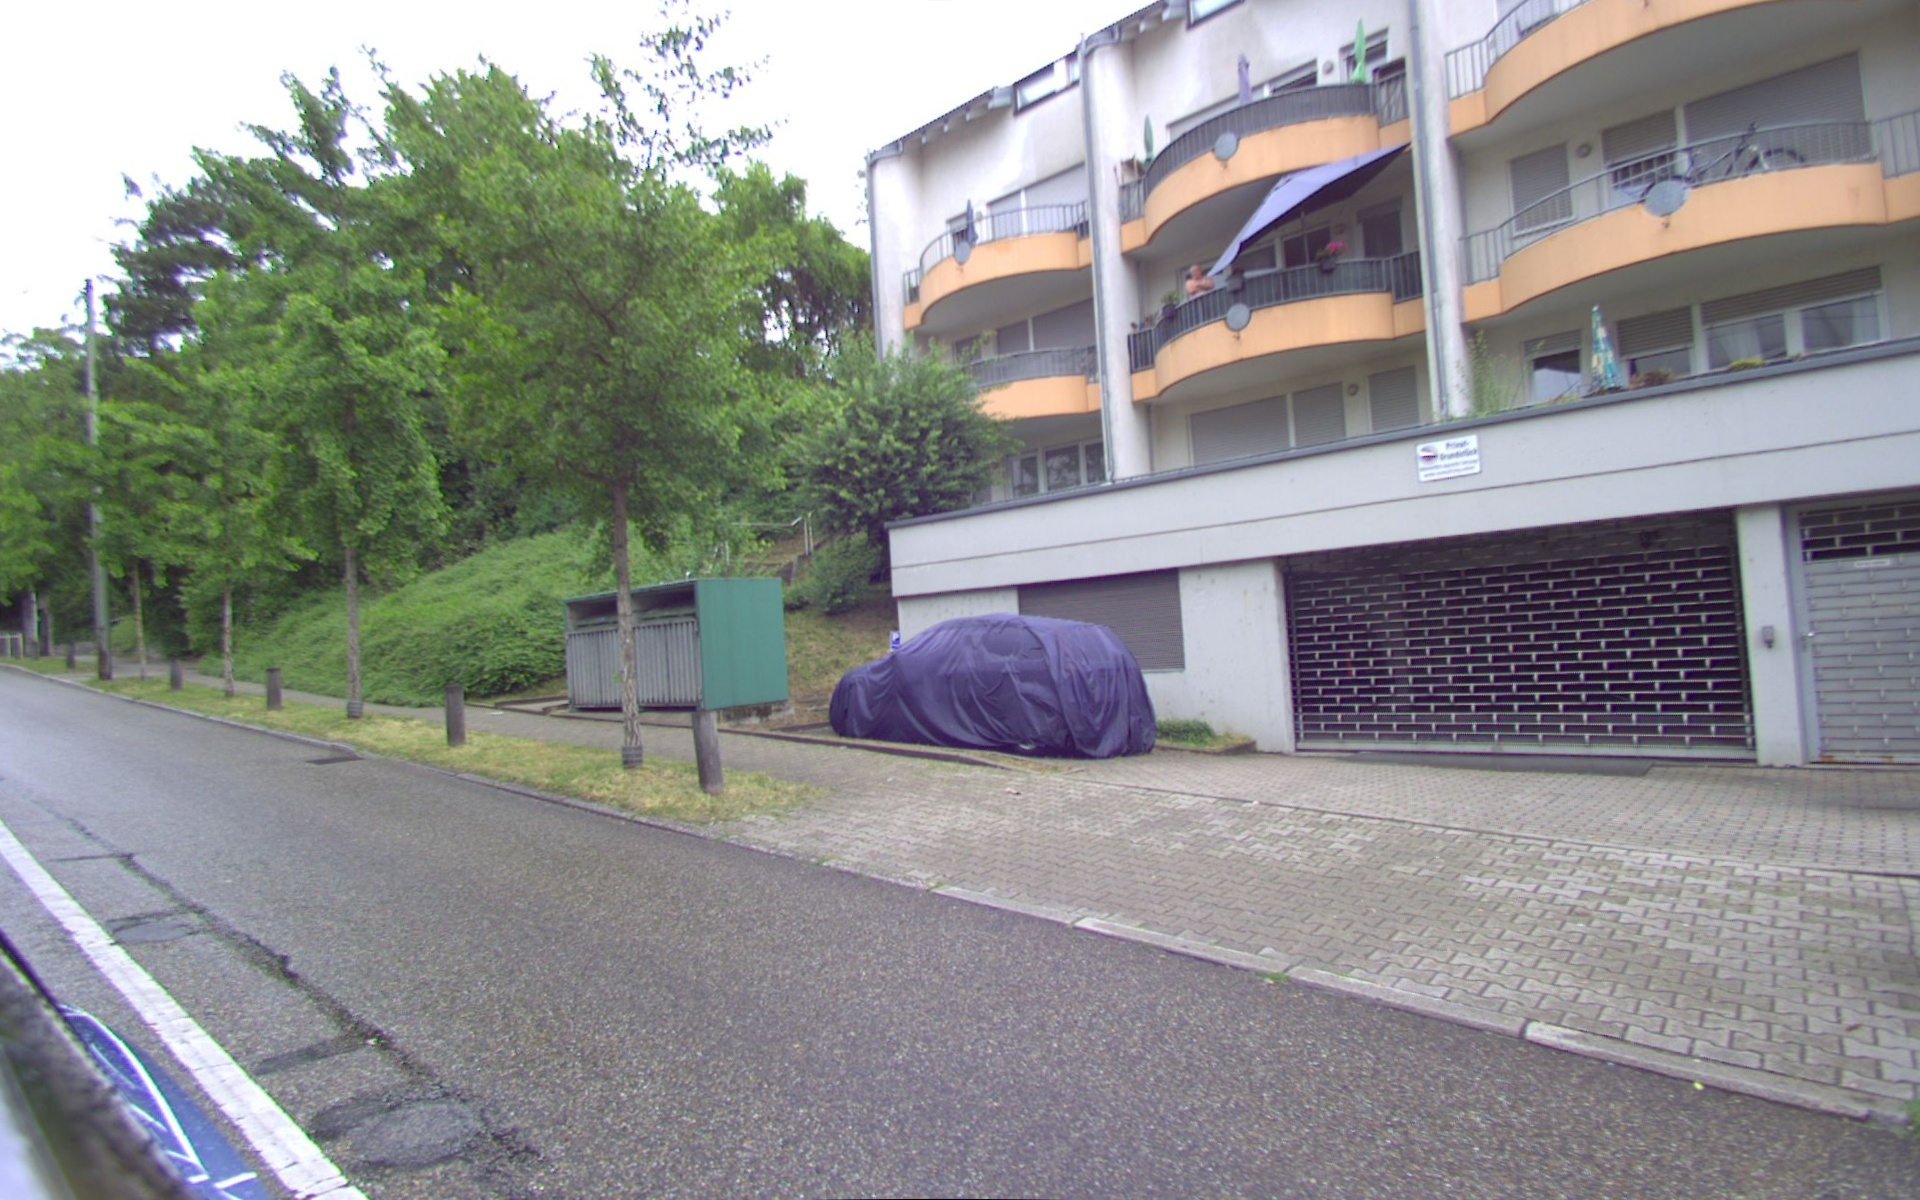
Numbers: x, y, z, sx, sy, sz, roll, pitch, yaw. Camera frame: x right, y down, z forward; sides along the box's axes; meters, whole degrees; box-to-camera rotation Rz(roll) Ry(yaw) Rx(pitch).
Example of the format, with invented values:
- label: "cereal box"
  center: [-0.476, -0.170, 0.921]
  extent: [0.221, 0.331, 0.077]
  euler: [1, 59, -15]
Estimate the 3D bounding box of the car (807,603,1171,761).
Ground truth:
- label: "car"
  center: [0.246, 0.869, 11.629]
  extent: [3.862, 1.503, 1.832]
  euler: [-1, -4, 39]
